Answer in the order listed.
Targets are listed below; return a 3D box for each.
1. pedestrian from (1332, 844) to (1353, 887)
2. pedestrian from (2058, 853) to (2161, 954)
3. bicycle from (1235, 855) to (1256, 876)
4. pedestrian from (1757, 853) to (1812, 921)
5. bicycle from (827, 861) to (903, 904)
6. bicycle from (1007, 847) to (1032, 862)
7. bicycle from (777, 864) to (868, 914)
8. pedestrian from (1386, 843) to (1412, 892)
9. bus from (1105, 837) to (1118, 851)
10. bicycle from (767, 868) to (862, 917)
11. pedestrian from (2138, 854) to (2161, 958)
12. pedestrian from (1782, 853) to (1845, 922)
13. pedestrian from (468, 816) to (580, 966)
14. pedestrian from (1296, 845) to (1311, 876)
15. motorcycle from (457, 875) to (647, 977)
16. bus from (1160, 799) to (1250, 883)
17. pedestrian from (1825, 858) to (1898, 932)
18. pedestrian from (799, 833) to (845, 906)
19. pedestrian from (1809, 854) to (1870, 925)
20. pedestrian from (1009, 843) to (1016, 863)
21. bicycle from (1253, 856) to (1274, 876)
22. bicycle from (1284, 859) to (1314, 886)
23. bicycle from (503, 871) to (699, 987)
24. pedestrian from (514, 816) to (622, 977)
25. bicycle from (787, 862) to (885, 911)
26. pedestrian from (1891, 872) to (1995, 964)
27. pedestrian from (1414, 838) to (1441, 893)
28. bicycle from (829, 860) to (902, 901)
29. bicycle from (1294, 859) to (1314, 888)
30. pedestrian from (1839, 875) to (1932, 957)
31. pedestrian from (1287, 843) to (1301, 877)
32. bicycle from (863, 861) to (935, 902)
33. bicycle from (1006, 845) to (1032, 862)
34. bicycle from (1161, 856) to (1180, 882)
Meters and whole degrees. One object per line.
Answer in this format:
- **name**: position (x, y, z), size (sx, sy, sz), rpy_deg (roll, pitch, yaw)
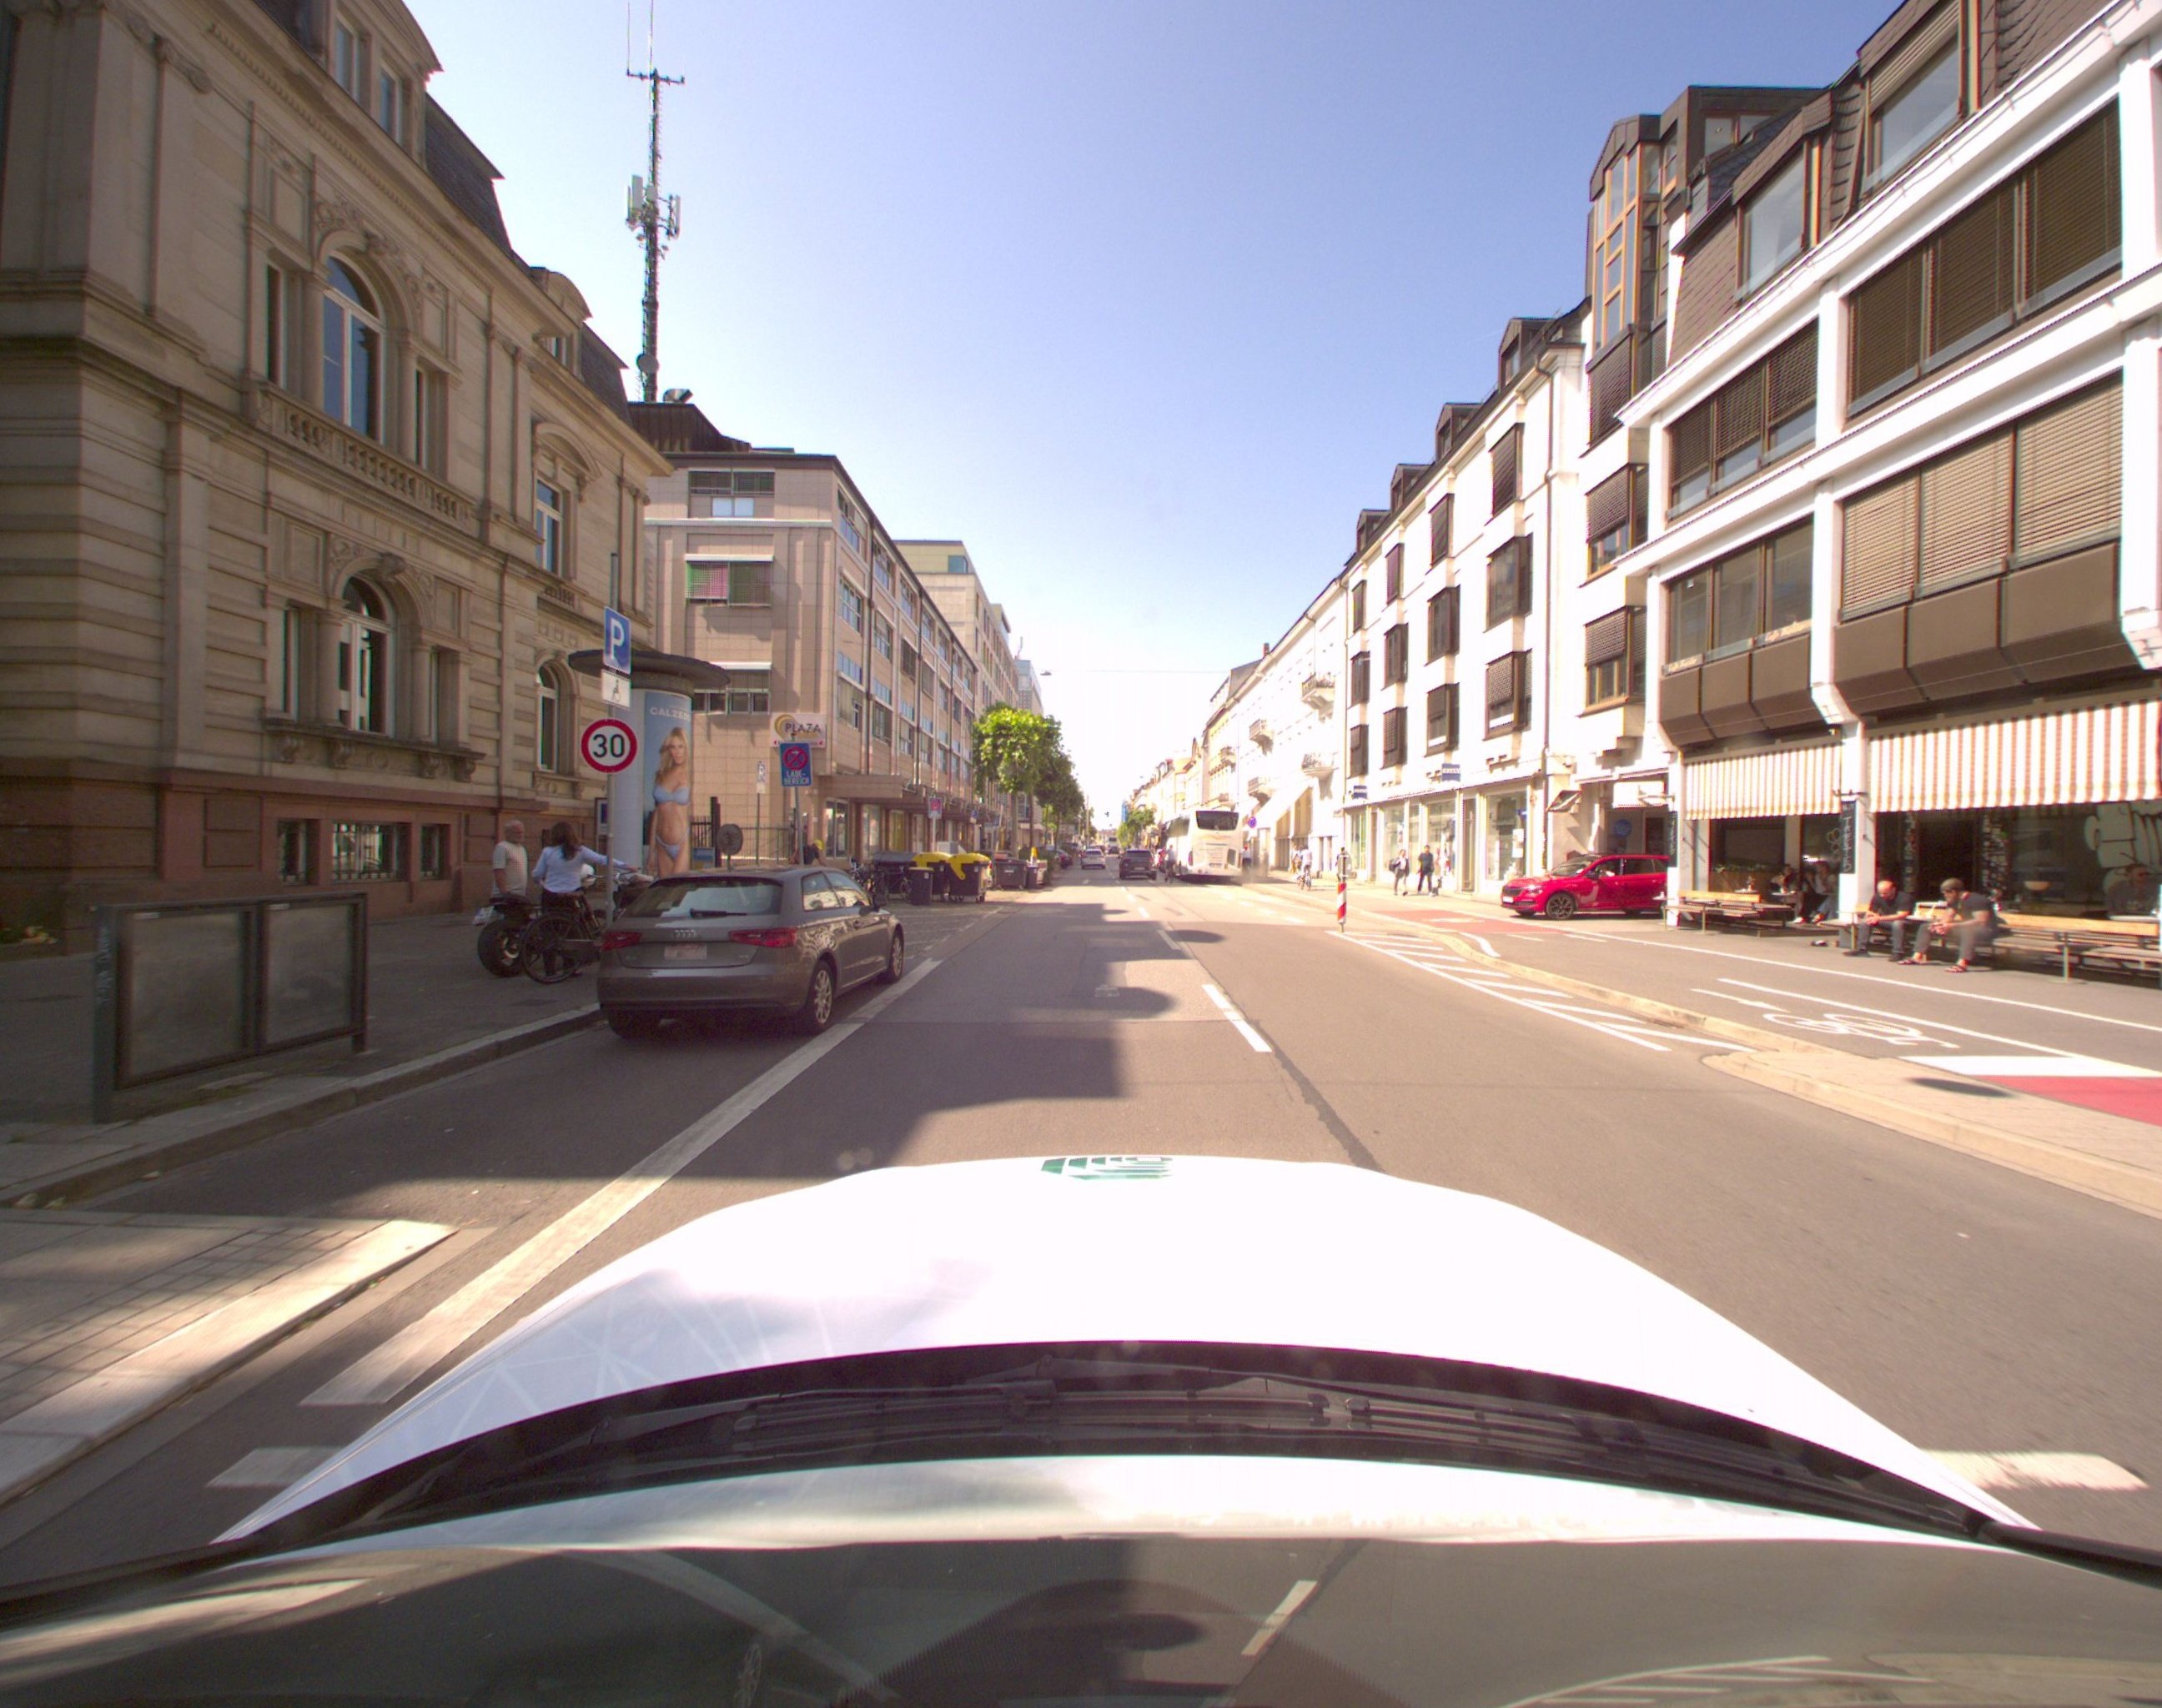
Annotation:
- **pedestrian**: position (10.588, 0.461, 32.954), size (0.617, 1.720, 0.836), rpy_deg (0, -2, 3)
- **pedestrian**: position (14.814, 0.691, 11.666), size (0.810, 1.396, 0.696), rpy_deg (1, -1, -1)
- **bicycle**: position (8.970, 0.617, 44.525), size (0.618, 1.099, 2.352), rpy_deg (1, 0, 0)
- **pedestrian**: position (14.477, 0.658, 16.764), size (0.533, 1.367, 0.689), rpy_deg (1, 0, 1)
- **bicycle**: position (-6.122, 0.811, 23.182), size (1.969, 1.120, 0.508), rpy_deg (3, -1, -3)
- **bicycle**: position (-5.154, 0.013, 68.120), size (2.062, 1.130, 0.463), rpy_deg (3, 0, -7)
- **bicycle**: position (-6.178, 0.841, 19.549), size (1.960, 1.120, 0.555), rpy_deg (3, -1, -11)
- **pedestrian**: position (11.194, 0.473, 28.657), size (0.690, 1.685, 0.838), rpy_deg (0, 0, 9)
- **bus**: position (7.949, -2.667, 214.486), size (2.763, 3.605, 8.967), rpy_deg (0, 1, -2)
- **bicycle**: position (-6.130, 0.886, 18.826), size (1.963, 1.017, 0.668), rpy_deg (3, -1, -11)
- **pedestrian**: position (14.865, 0.694, 10.823), size (0.709, 1.396, 0.696), rpy_deg (0, -1, 0)
- **pedestrian**: position (14.865, 0.676, 16.541), size (0.742, 1.367, 0.584), rpy_deg (1, 0, 0)
- **pedestrian**: position (-6.482, 0.415, 9.517), size (0.545, 1.665, 0.939), rpy_deg (0, -1, 10)
- **pedestrian**: position (11.826, 0.355, 43.314), size (0.642, 1.617, 0.822), rpy_deg (1, -2, 4)
- **motorcycle**: position (-6.043, 0.771, 9.491), size (0.451, 0.998, 2.167), rpy_deg (2, 0, 11)
- **bus**: position (6.309, -0.644, 43.757), size (2.872, 3.741, 12.425), rpy_deg (2, 1, 0)
- **pedestrian**: position (14.887, 0.766, 15.539), size (0.874, 1.367, 0.537), rpy_deg (1, 0, -1)
- **pedestrian**: position (-6.262, 0.374, 19.729), size (0.887, 1.725, 0.747), rpy_deg (1, 0, -6)
- **pedestrian**: position (14.899, 0.689, 16.004), size (0.758, 1.367, 0.478), rpy_deg (1, 0, -1)
- **pedestrian**: position (-5.813, -0.077, 69.062), size (0.564, 1.657, 0.636), rpy_deg (1, 0, -4)
- **bicycle**: position (10.099, 0.645, 45.081), size (0.618, 1.099, 2.352), rpy_deg (1, 0, 0)
- **bicycle**: position (9.453, 0.785, 35.393), size (0.618, 1.099, 2.352), rpy_deg (1, 0, 0)
- **bicycle**: position (-5.247, 0.760, 9.124), size (0.426, 1.120, 2.250), rpy_deg (2, -1, 12)
- **pedestrian**: position (-5.606, 0.447, 8.940), size (0.691, 1.695, 0.691), rpy_deg (0, -1, 3)
- **bicycle**: position (-6.052, 0.808, 20.205), size (2.236, 1.120, 0.555), rpy_deg (3, -1, -11)
- **pedestrian**: position (11.968, 0.867, 11.329), size (0.707, 1.217, 0.698), rpy_deg (0, -1, 9)
- **pedestrian**: position (12.019, 0.401, 28.271), size (0.690, 1.851, 0.837), rpy_deg (0, -1, 9)
- **bicycle**: position (-5.891, 0.730, 22.323), size (1.839, 1.073, 0.556), rpy_deg (-1, -2, -3)
- **bicycle**: position (8.916, 0.761, 32.608), size (0.591, 1.120, 1.805), rpy_deg (0, 1, 9)
- **pedestrian**: position (12.015, 0.903, 12.185), size (0.707, 1.173, 0.698), rpy_deg (0, -1, 9)
- **pedestrian**: position (11.153, 0.309, 42.680), size (0.571, 1.778, 1.021), rpy_deg (0, -1, 4)
- **bicycle**: position (-5.310, 0.802, 23.828), size (1.962, 1.120, 0.508), rpy_deg (1, -1, -3)
- **bicycle**: position (-5.237, -0.043, 68.809), size (2.062, 1.288, 0.367), rpy_deg (3, 0, -7)
- **bicycle**: position (4.174, 0.690, 38.215), size (0.662, 1.120, 2.244), rpy_deg (2, 1, 1)
